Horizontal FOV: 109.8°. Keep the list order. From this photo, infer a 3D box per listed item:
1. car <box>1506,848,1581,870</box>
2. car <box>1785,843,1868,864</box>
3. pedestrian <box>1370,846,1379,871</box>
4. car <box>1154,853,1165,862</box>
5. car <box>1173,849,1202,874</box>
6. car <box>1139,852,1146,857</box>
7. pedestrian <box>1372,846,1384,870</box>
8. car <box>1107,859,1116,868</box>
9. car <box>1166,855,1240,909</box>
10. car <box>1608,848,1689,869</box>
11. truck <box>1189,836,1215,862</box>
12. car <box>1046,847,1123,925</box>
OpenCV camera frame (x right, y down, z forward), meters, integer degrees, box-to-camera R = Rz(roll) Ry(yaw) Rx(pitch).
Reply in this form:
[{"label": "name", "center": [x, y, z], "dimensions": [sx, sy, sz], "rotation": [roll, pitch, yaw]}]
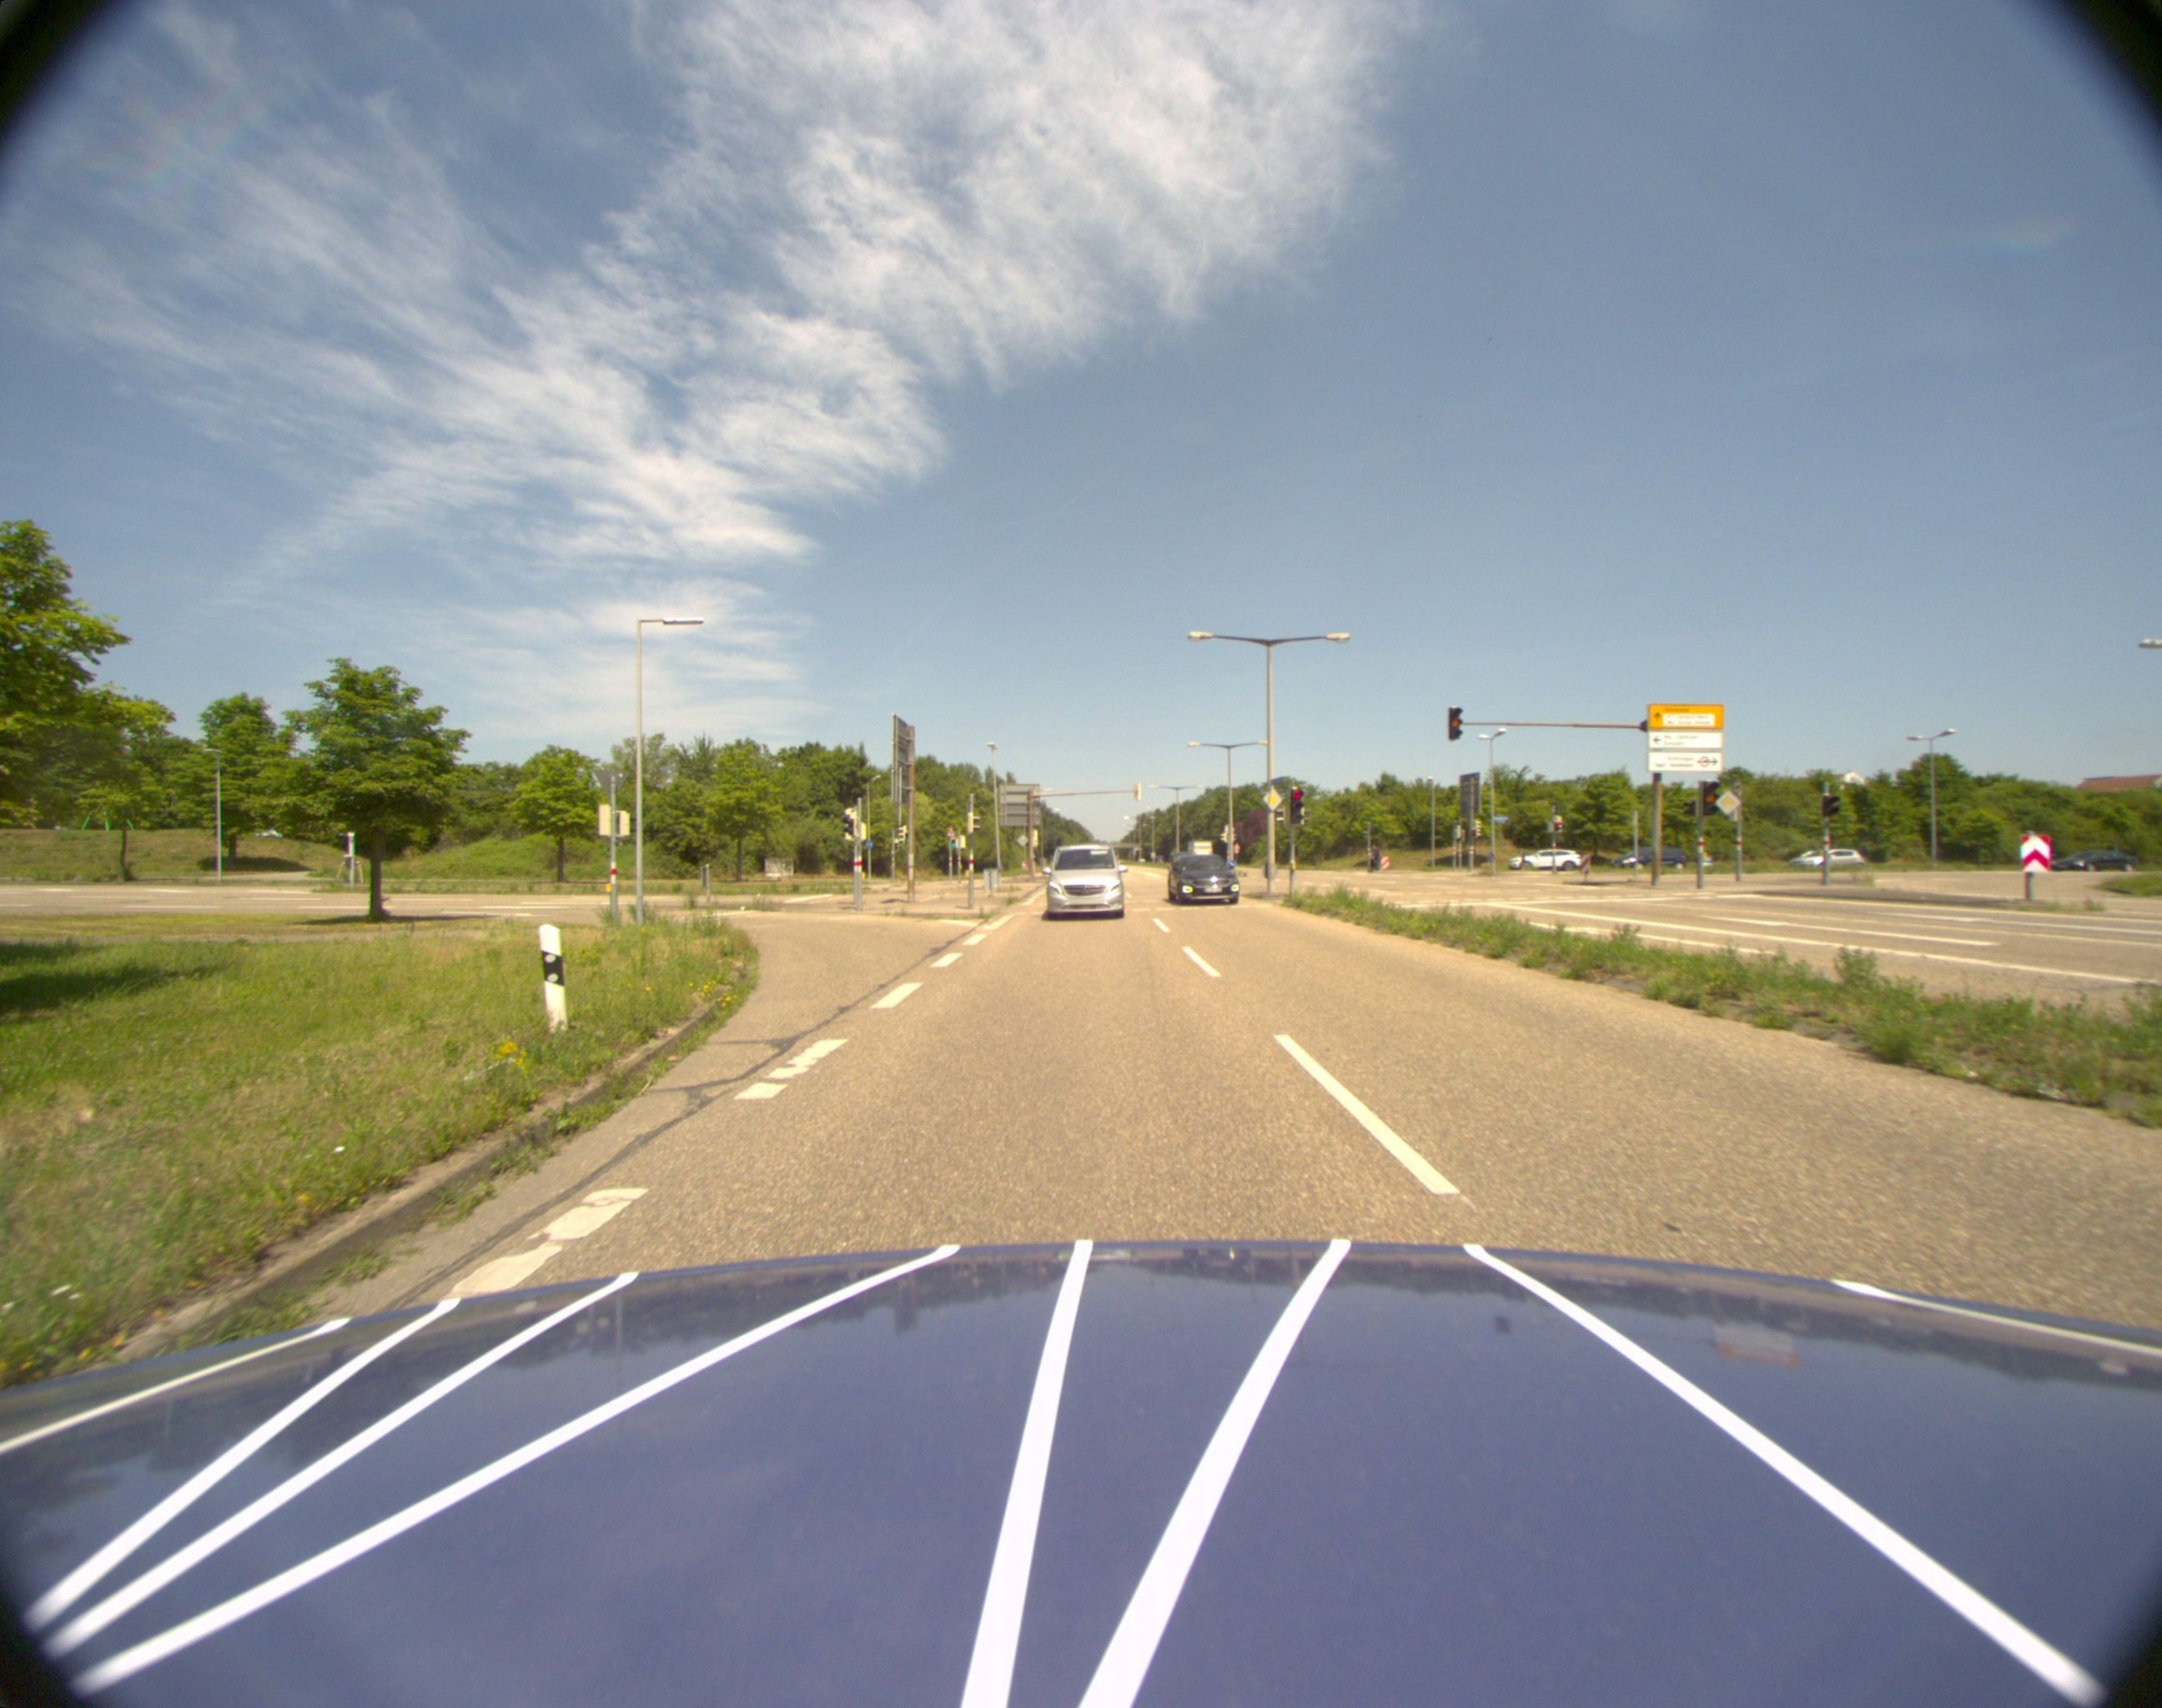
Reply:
[{"label": "car", "center": [33.402, 0.386, 54.950], "dimensions": [4.300, 1.492, 1.883], "rotation": [0, -2, 16]}, {"label": "car", "center": [48.842, -0.035, 49.809], "dimensions": [3.998, 1.353, 1.633], "rotation": [-1, 0, -4]}, {"label": "pedestrian", "center": [20.737, 0.330, 53.665], "dimensions": [0.582, 1.726, 0.794], "rotation": [-1, 0, 21]}, {"label": "car", "center": [14.758, 0.609, 143.347], "dimensions": [1.711, 1.653, 4.223], "rotation": [-1, 0, 2]}, {"label": "car", "center": [8.182, 0.533, 58.856], "dimensions": [1.735, 1.815, 4.322], "rotation": [-1, 0, 1]}, {"label": "car", "center": [18.337, 0.270, 227.261], "dimensions": [1.827, 1.447, 4.168], "rotation": [-1, 0, -1]}, {"label": "pedestrian", "center": [20.617, 0.265, 52.788], "dimensions": [0.723, 1.689, 0.776], "rotation": [-1, 0, 20]}, {"label": "car", "center": [6.409, 2.055, 159.391], "dimensions": [1.735, 1.815, 4.322], "rotation": [-1, 0, 1]}, {"label": "car", "center": [3.797, 0.819, 24.250], "dimensions": [1.738, 1.503, 3.971], "rotation": [-2, 0, 1]}, {"label": "car", "center": [36.465, 0.271, 48.887], "dimensions": [3.998, 1.328, 1.703], "rotation": [0, 0, -3]}, {"label": "truck", "center": [17.438, -0.694, 109.679], "dimensions": [2.694, 3.549, 7.268], "rotation": [-1, 0, 1]}, {"label": "car", "center": [0.146, 0.754, 20.537], "dimensions": [1.764, 1.794, 4.855], "rotation": [-2, 0, 1]}]
